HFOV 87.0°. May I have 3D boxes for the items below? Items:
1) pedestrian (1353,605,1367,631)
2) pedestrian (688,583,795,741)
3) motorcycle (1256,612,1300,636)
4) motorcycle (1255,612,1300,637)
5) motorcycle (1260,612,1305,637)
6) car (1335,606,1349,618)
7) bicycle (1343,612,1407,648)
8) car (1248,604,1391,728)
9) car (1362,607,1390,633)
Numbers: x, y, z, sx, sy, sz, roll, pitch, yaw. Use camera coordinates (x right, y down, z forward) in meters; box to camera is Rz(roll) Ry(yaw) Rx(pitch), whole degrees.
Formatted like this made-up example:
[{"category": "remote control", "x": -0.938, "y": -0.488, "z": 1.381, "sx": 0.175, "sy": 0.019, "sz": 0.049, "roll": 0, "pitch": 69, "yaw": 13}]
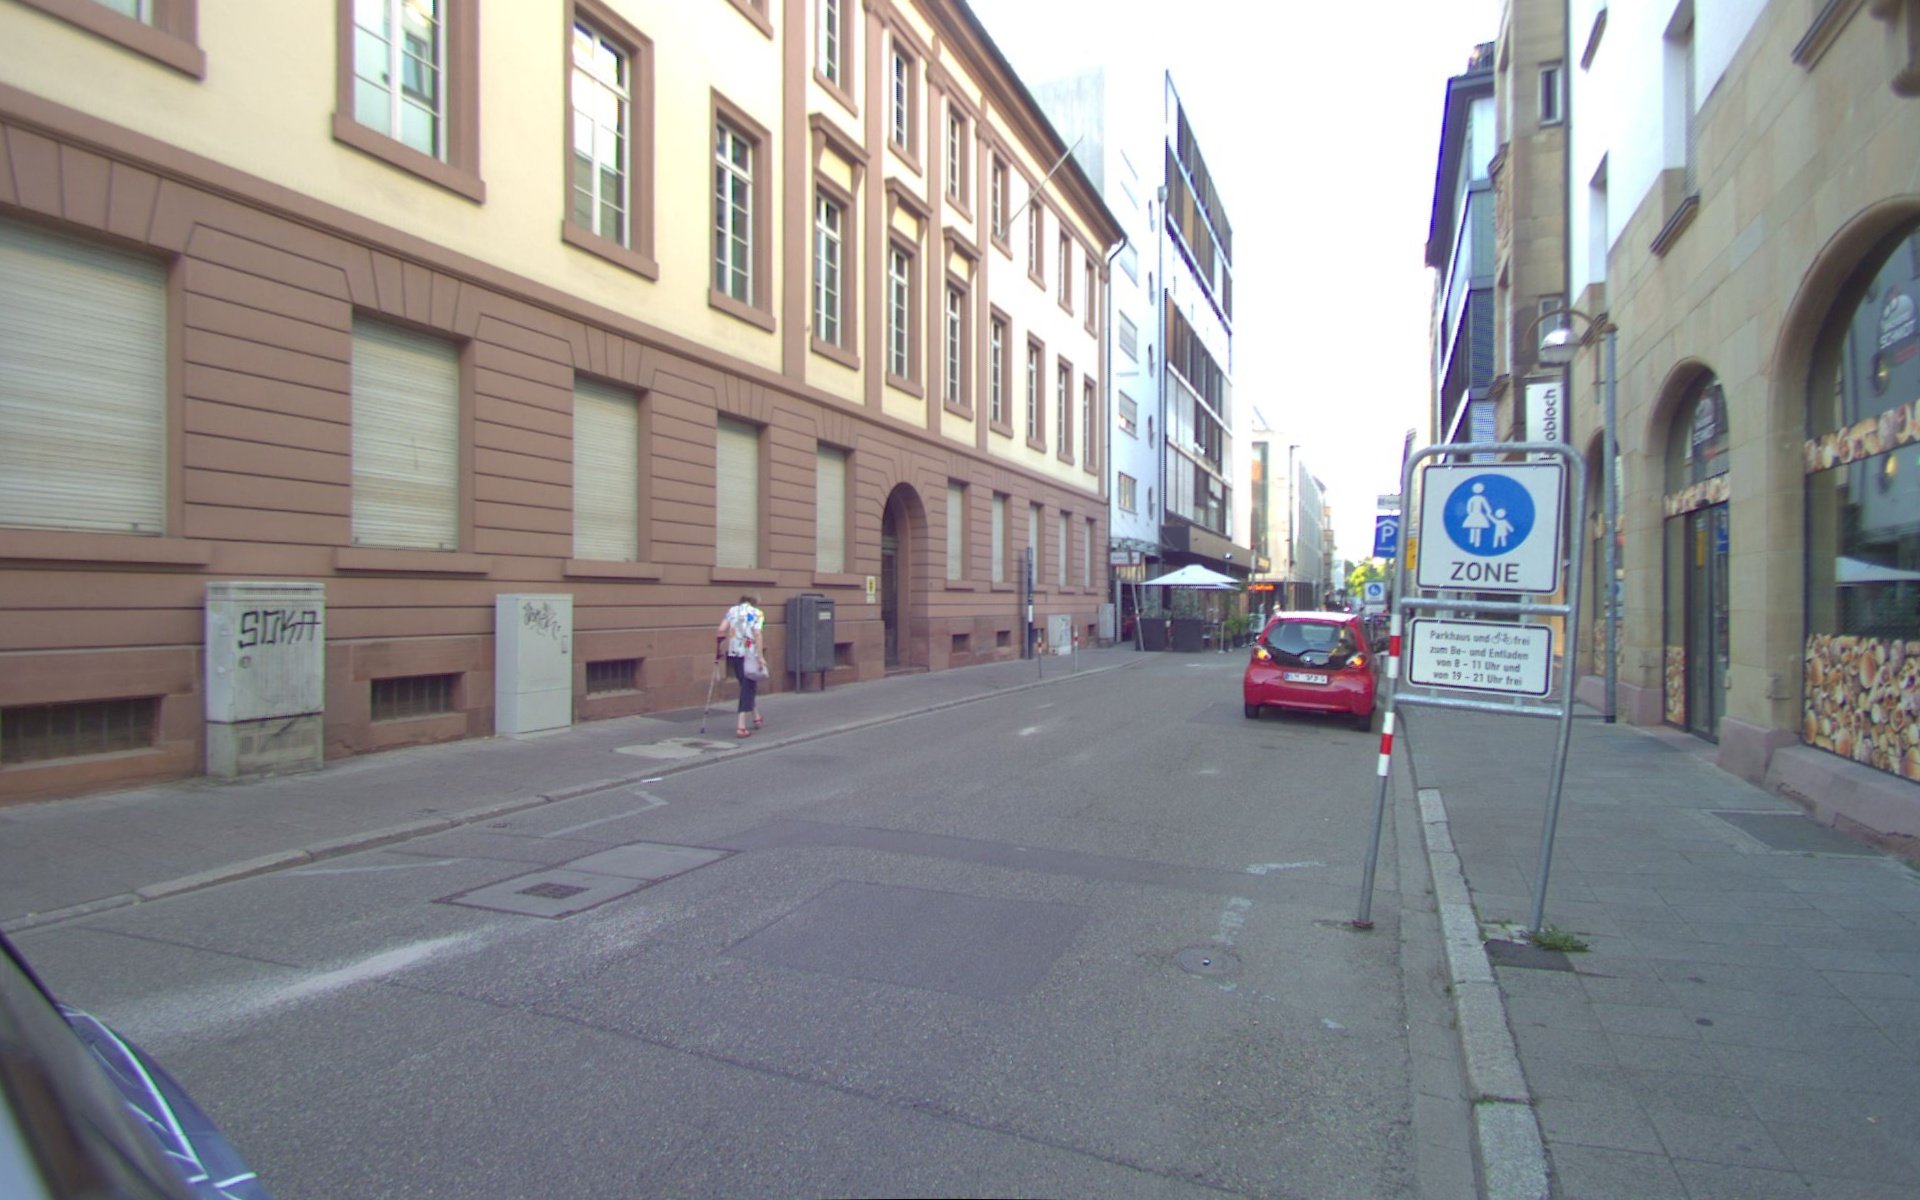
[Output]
[{"category": "pedestrian", "x": 25.978, "y": 1.153, "z": 65.779, "sx": 0.806, "sy": 1.684, "sz": 0.924, "roll": 0, "pitch": -1, "yaw": 21}, {"category": "pedestrian", "x": -2.452, "y": 0.667, "z": 11.406, "sx": 0.806, "sy": 1.684, "sz": 0.924, "roll": 0, "pitch": -1, "yaw": 22}, {"category": "motorcycle", "x": 17.303, "y": 1.307, "z": 55.072, "sx": 2.182, "sy": 1.292, "sz": 0.646, "roll": 0, "pitch": 0, "yaw": 26}, {"category": "motorcycle", "x": 16.476, "y": 1.273, "z": 52.530, "sx": 2.182, "sy": 1.292, "sz": 0.646, "roll": 0, "pitch": 0, "yaw": 26}, {"category": "motorcycle", "x": 17.001, "y": 1.282, "z": 53.335, "sx": 2.182, "sy": 1.292, "sz": 0.646, "roll": 0, "pitch": 0, "yaw": 26}, {"category": "car", "x": 44.367, "y": 1.381, "z": 117.422, "sx": 1.417, "sy": 1.310, "sz": 3.536, "roll": -2, "pitch": -1, "yaw": 22}, {"category": "bicycle", "x": 13.914, "y": 1.009, "z": 33.918, "sx": 1.943, "sy": 1.139, "sz": 0.615, "roll": -2, "pitch": -2, "yaw": 25}, {"category": "car", "x": 5.077, "y": 0.816, "z": 14.092, "sx": 1.628, "sy": 1.452, "sz": 3.131, "roll": 2, "pitch": 0, "yaw": 24}, {"category": "car", "x": 24.109, "y": 1.121, "z": 58.625, "sx": 1.417, "sy": 1.428, "sz": 3.865, "roll": -2, "pitch": -1, "yaw": 22}]
